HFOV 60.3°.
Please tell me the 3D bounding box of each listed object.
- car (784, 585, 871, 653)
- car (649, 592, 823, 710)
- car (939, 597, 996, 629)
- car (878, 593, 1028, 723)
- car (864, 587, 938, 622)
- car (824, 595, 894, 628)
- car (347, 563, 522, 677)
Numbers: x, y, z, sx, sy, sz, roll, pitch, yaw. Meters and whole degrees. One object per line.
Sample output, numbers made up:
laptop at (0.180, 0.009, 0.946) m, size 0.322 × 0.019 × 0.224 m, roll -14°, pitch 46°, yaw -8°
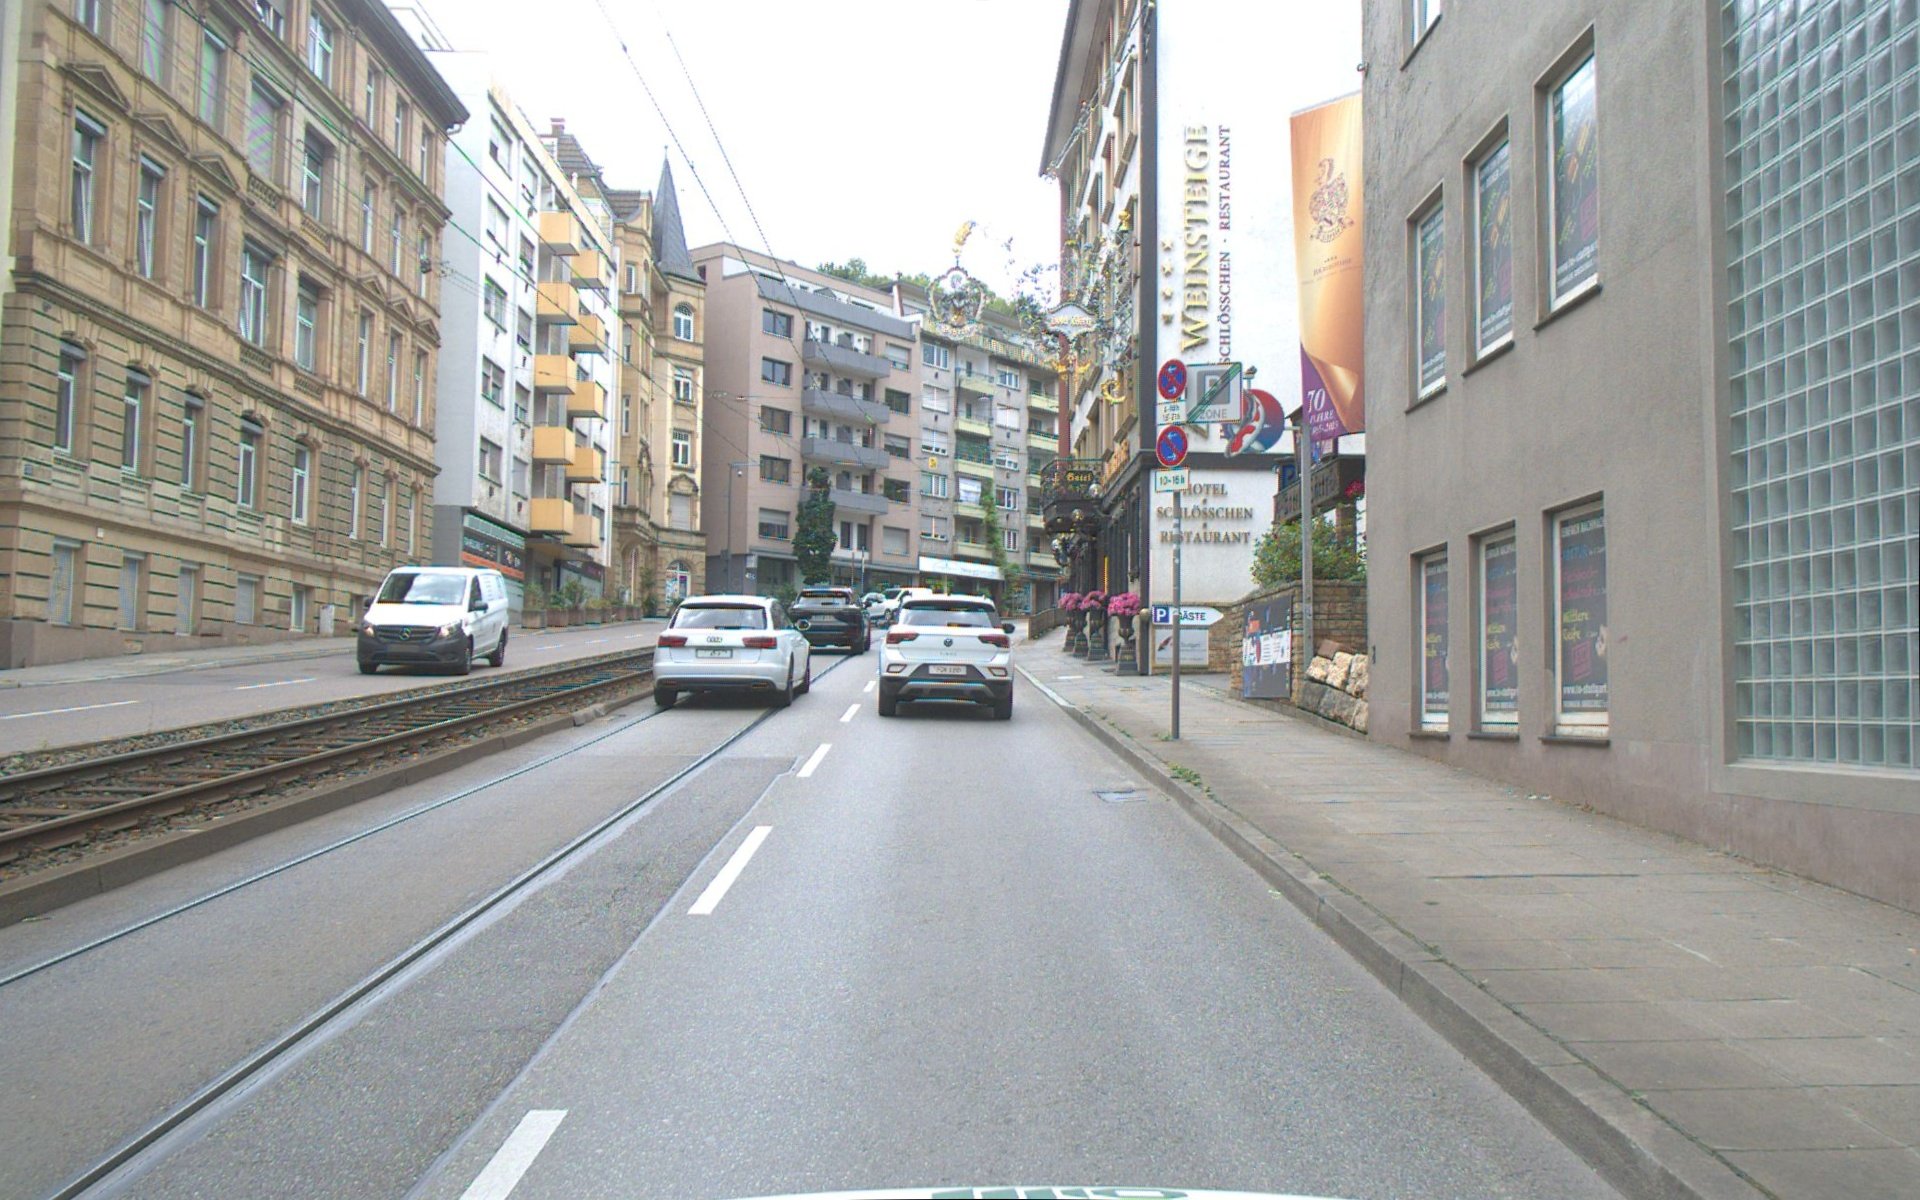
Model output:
car at (-3.319, 0.449, 42.159) m, size 1.997 × 1.599 × 4.356 m, roll 1°, pitch 0°, yaw -2°
car at (-3.049, 0.647, 23.411) m, size 1.840 × 1.480 × 4.617 m, roll 1°, pitch 0°, yaw 0°
car at (0.505, 0.803, 103.447) m, size 1.866 × 1.956 × 4.432 m, roll 1°, pitch 0°, yaw 25°
car at (-0.142, 0.718, 22.558) m, size 1.841 × 1.582 × 3.999 m, roll 1°, pitch 0°, yaw -2°
car at (-3.509, 0.296, 99.937) m, size 1.961 × 2.071 × 4.682 m, roll 1°, pitch 0°, yaw 37°
car at (-5.495, 0.626, 90.115) m, size 1.763 × 1.758 × 3.987 m, roll 1°, pitch 0°, yaw 34°
car at (-9.713, 0.332, 31.024) m, size 1.918 × 1.933 × 5.314 m, roll 1°, pitch 0°, yaw -4°
